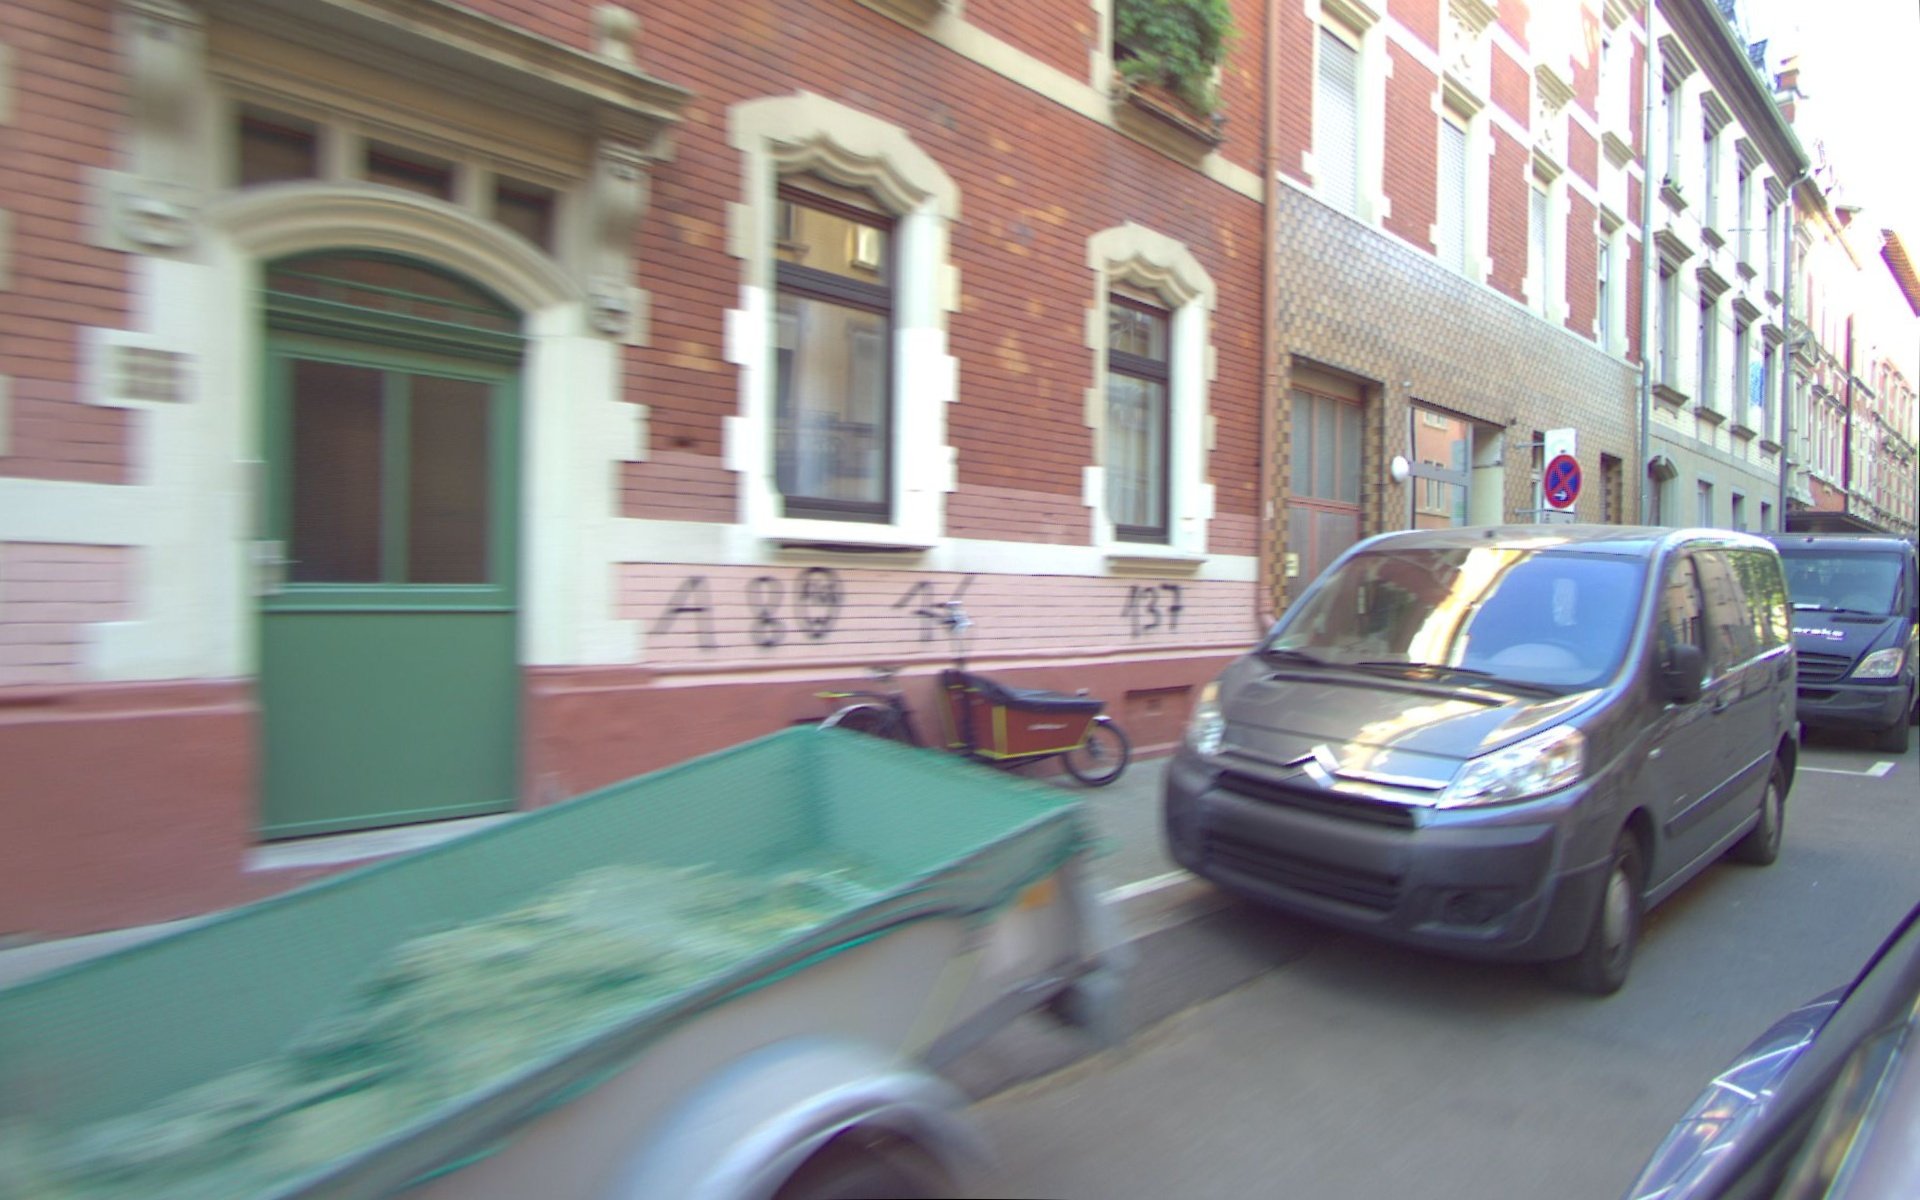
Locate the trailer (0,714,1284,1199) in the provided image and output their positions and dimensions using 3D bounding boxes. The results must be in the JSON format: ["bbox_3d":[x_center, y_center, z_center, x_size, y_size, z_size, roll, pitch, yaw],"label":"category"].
[{"bbox_3d":[-0.854,0.927,1.905,2.988,1.127,1.506,0,-3,-43],"label":"trailer"}]

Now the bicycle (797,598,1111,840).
[{"bbox_3d":[0.018,0.640,6.303,1.957,1.237,0.670,-1,4,-41],"label":"bicycle"}]

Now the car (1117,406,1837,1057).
[{"bbox_3d":[2.997,0.419,5.330,4.497,2.009,1.847,0,-1,-42],"label":"car"}]

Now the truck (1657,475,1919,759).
[{"bbox_3d":[10.737,0.081,12.480,6.149,2.689,2.152,0,5,-44],"label":"truck"}]
